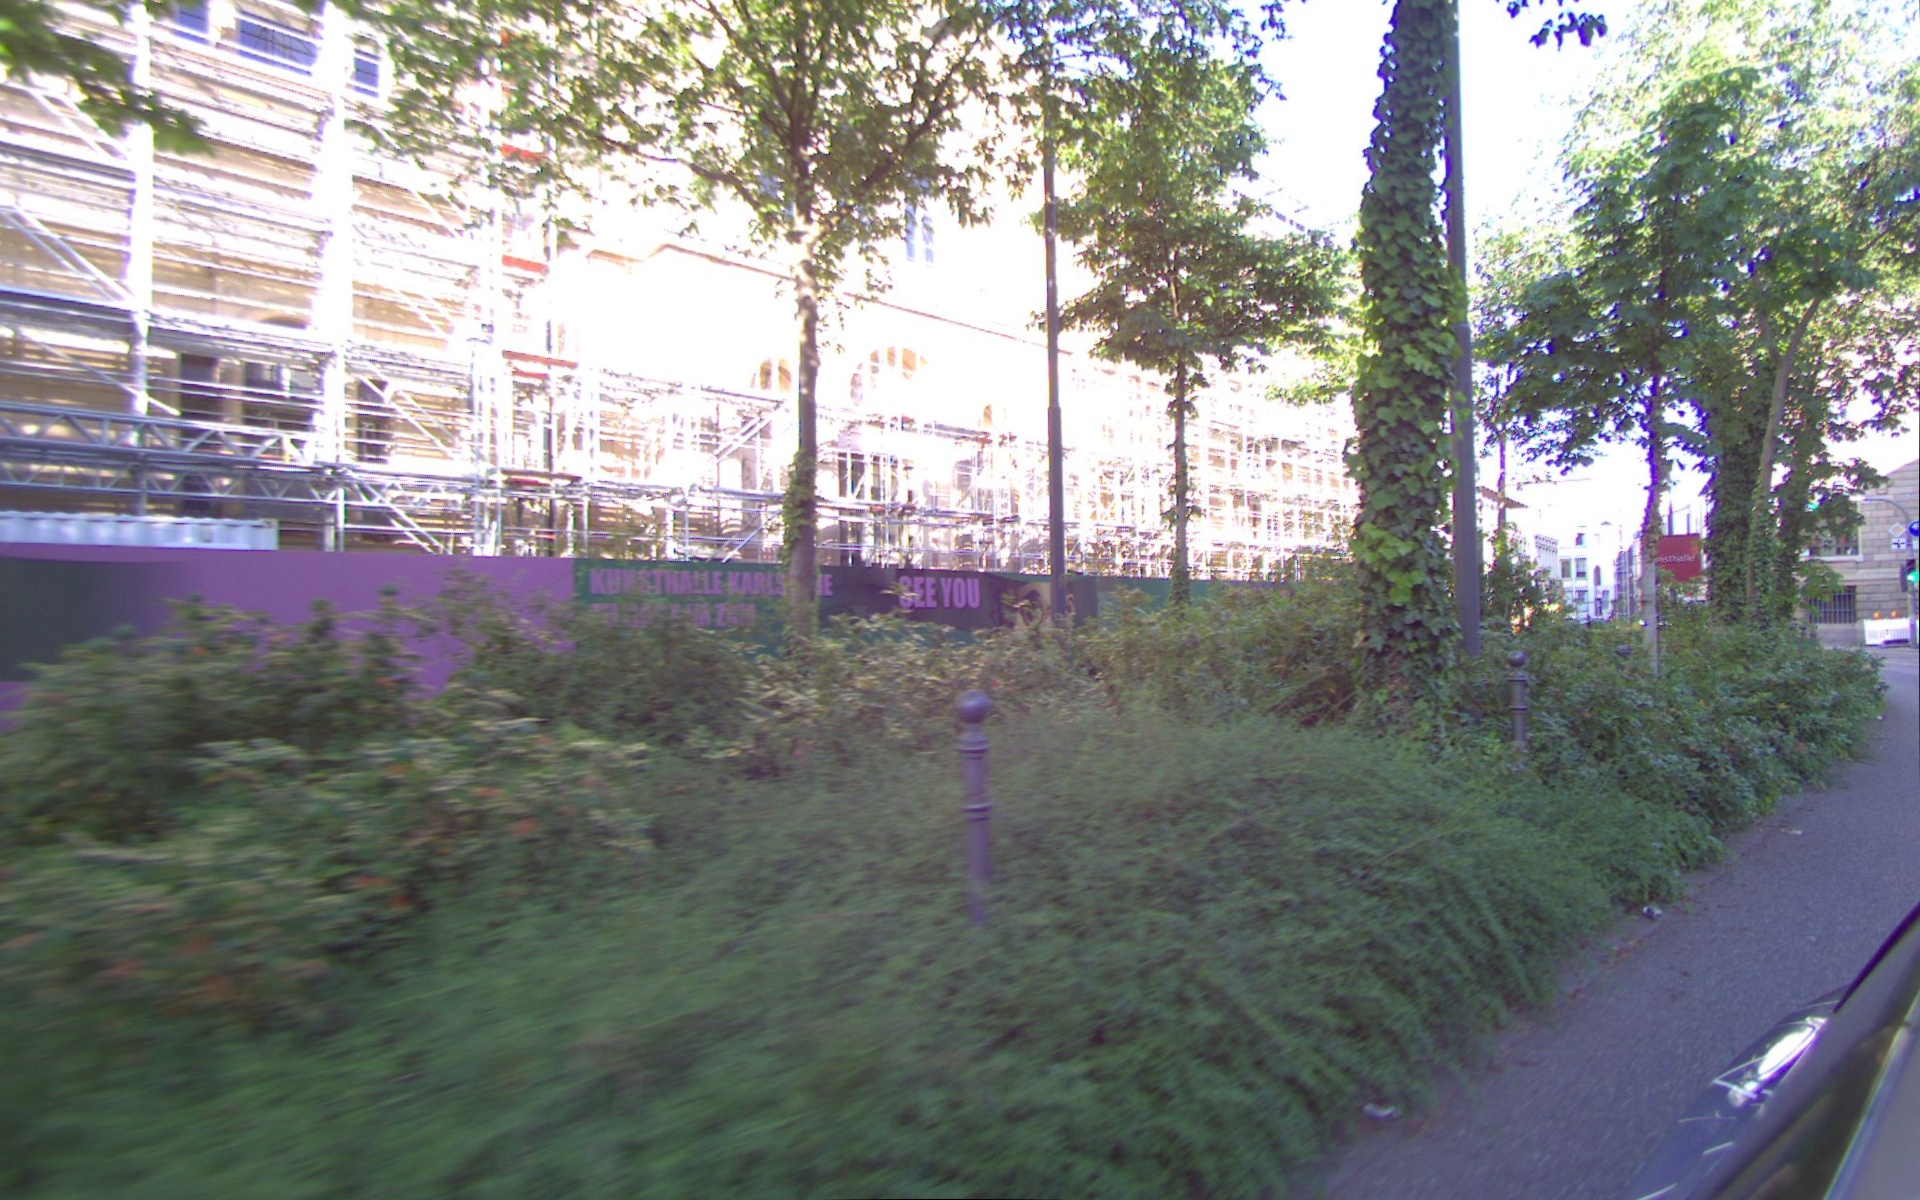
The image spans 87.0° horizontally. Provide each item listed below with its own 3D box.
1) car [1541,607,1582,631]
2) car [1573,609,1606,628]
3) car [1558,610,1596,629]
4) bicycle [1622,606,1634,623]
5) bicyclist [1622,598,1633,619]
[{"bbox_3d":[43.730,1.389,73.559,1.890,1.645,4.555,-3,-2,39],"label":"car"},{"bbox_3d":[51.608,1.511,82.882,1.693,1.489,4.724,-3,-2,39],"label":"car"},{"bbox_3d":[47.872,1.531,78.469,1.695,1.362,4.529,-3,-2,41],"label":"car"},{"bbox_3d":[43.295,0.943,65.587,0.532,1.080,1.407,-3,-2,36],"label":"bicycle"},{"bbox_3d":[43.286,0.551,65.599,0.535,1.305,0.544,-3,-3,37],"label":"bicyclist"}]
